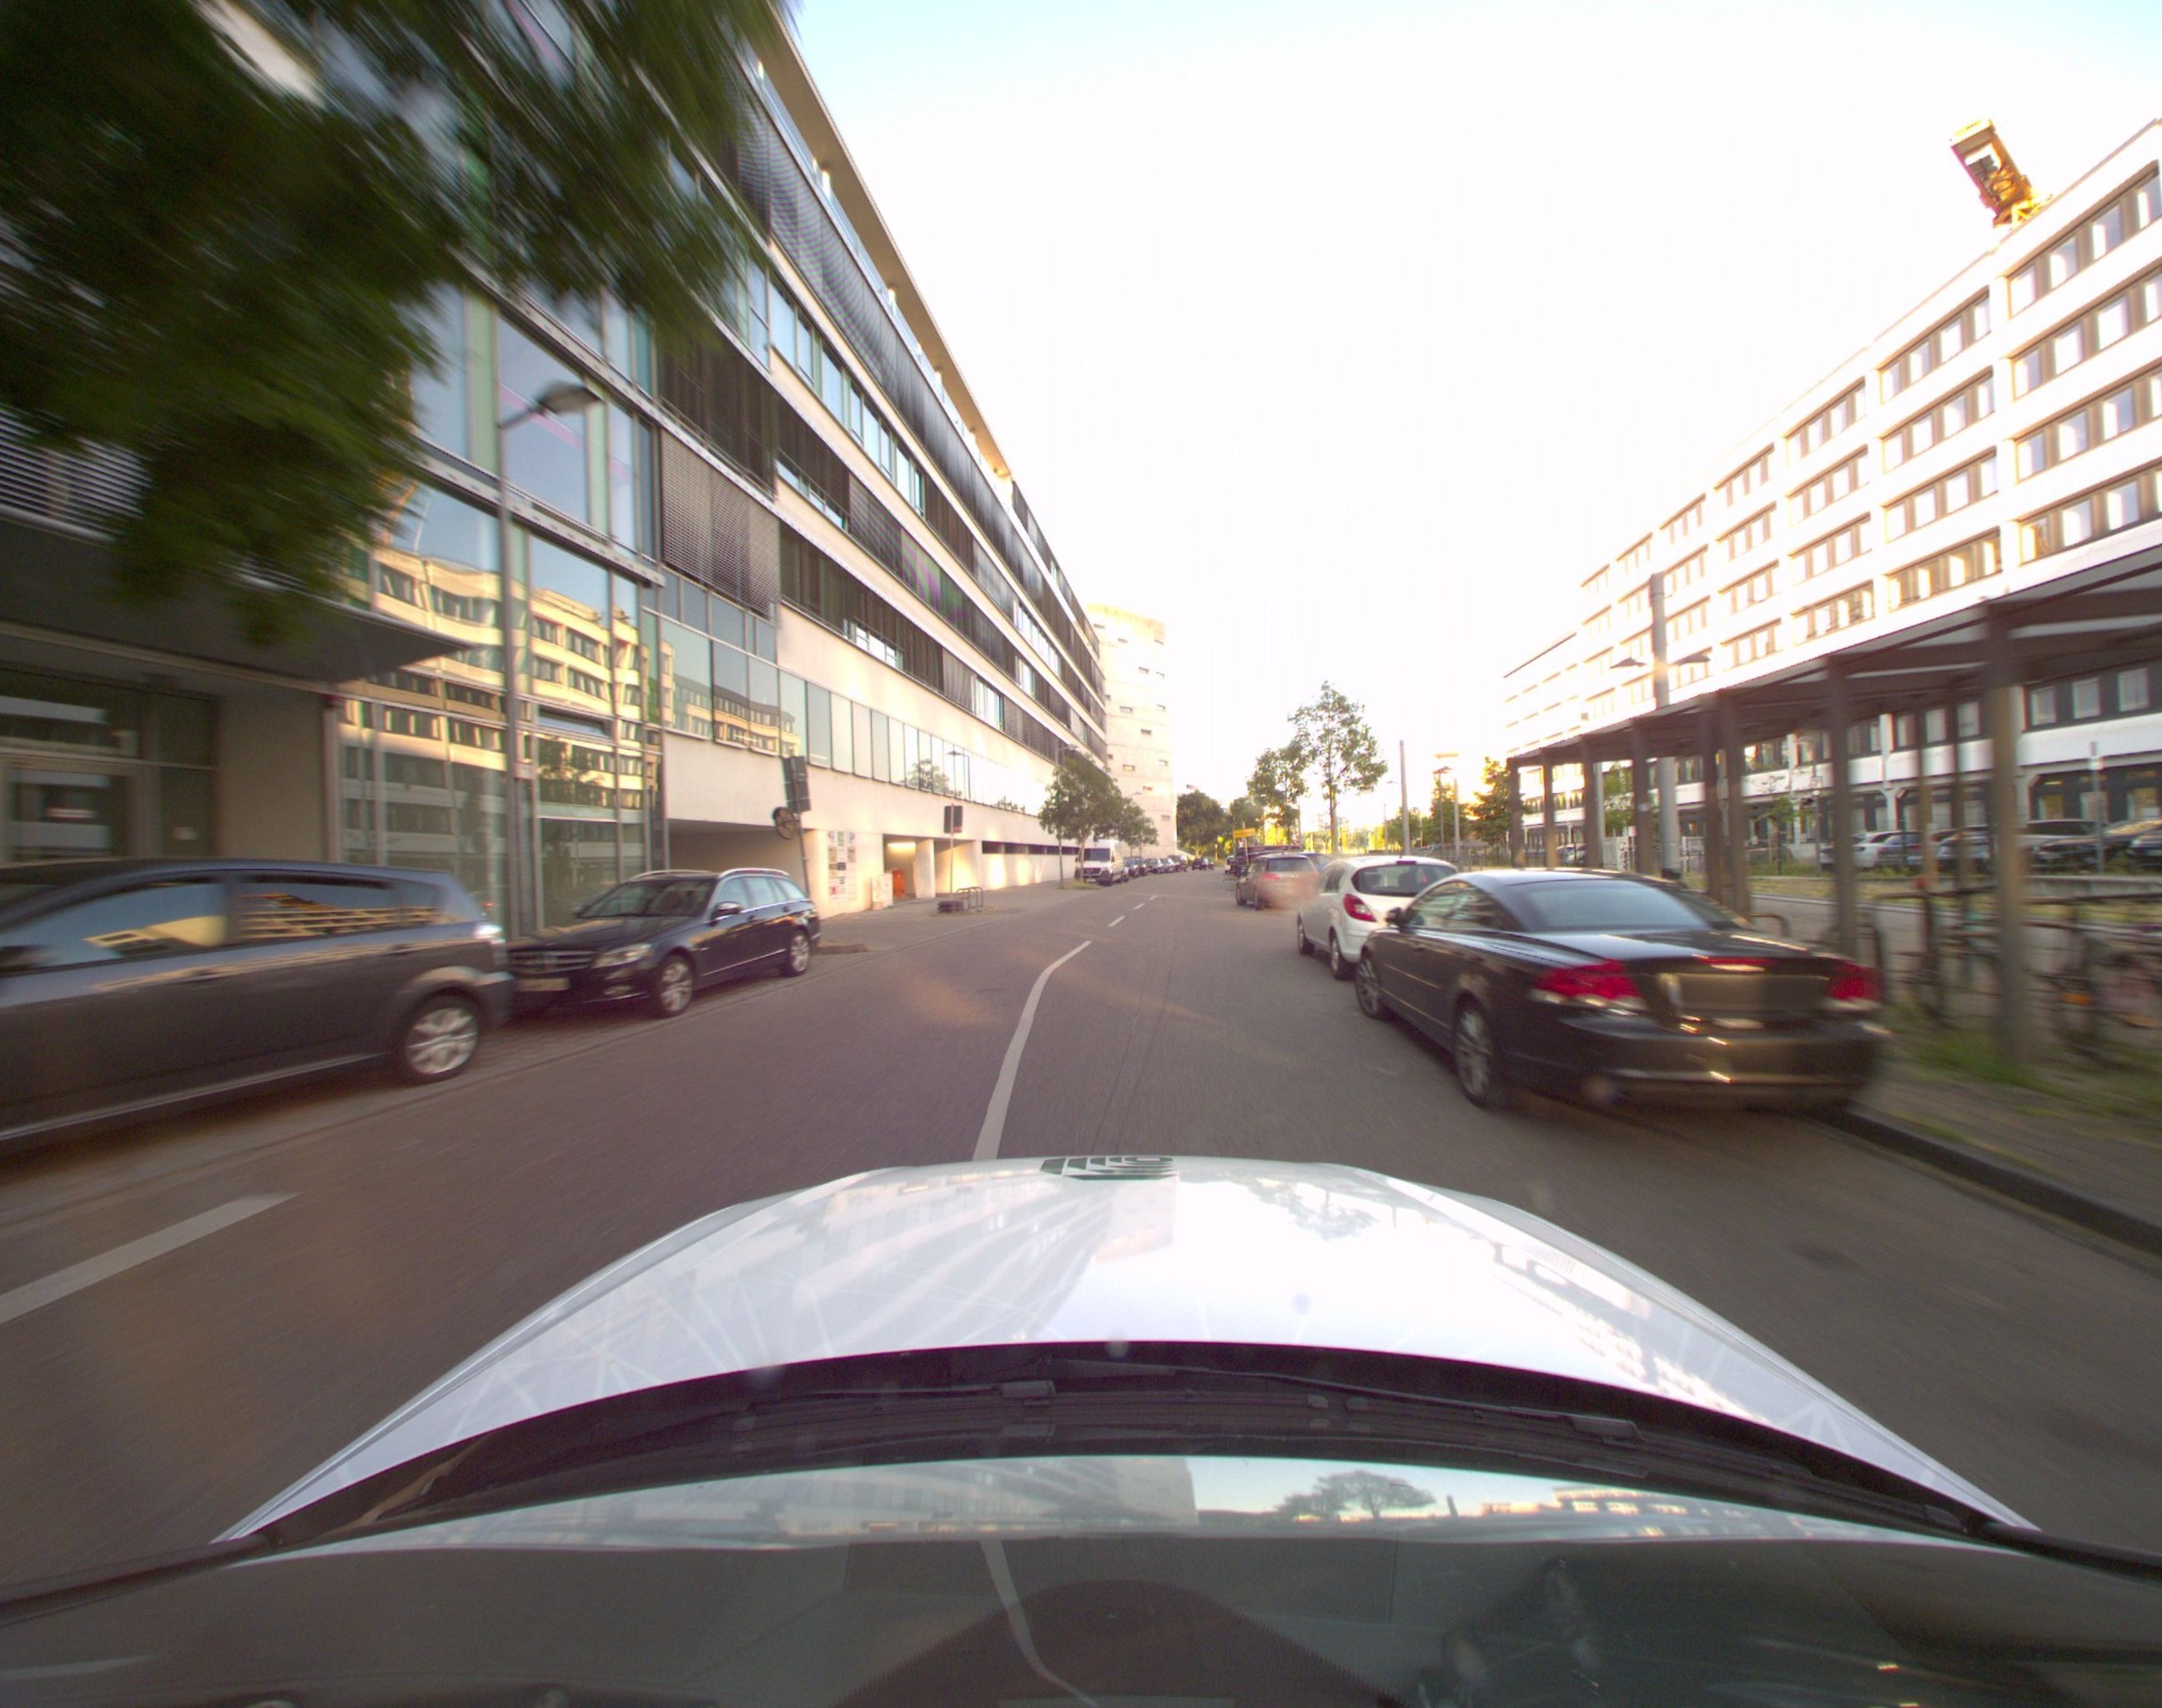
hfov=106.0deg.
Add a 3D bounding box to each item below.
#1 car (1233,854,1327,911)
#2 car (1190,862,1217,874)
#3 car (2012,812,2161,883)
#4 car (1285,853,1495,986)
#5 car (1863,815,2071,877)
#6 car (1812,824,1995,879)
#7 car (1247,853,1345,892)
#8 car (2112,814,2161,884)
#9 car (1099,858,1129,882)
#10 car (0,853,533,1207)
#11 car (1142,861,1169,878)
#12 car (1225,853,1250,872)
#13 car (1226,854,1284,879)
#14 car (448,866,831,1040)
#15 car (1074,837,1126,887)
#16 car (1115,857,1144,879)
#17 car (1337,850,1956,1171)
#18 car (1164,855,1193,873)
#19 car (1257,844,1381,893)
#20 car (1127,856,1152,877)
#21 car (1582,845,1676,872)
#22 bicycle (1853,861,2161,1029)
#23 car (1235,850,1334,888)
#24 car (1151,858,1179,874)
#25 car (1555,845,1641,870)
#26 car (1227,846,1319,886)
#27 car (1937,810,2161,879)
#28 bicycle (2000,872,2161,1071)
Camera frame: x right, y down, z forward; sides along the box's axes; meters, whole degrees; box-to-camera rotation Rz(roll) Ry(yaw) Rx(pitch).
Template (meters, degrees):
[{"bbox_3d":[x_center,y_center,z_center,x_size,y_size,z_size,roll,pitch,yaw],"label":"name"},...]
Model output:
[{"bbox_3d":[5.509,0.754,23.023,1.725,1.466,3.999,0,-1,0],"label":"car"},{"bbox_3d":[14.320,1.636,95.304,1.926,1.382,4.425,0,0,25],"label":"car"},{"bbox_3d":[25.602,-0.207,19.609,3.963,1.487,1.680,-4,-1,9],"label":"car"},{"bbox_3d":[3.972,0.746,11.196,1.667,1.452,4.195,-2,0,6],"label":"car"},{"bbox_3d":[26.397,-0.218,24.401,3.963,1.487,1.680,-4,-1,9],"label":"car"},{"bbox_3d":[27.184,-0.074,27.044,3.965,1.513,1.828,-4,-1,7],"label":"car"},{"bbox_3d":[9.324,0.780,35.280,4.009,1.595,1.721,1,-1,-27],"label":"car"},{"bbox_3d":[25.152,-0.236,17.239,3.963,1.487,1.680,-4,-1,9],"label":"car"},{"bbox_3d":[2.172,1.006,52.098,1.748,1.439,3.906,0,0,5],"label":"car"},{"bbox_3d":[-5.615,0.812,4.479,1.833,1.571,4.278,-2,0,9],"label":"car"},{"bbox_3d":[6.914,1.383,75.116,1.709,1.457,4.289,0,0,15],"label":"car"},{"bbox_3d":[13.451,0.701,69.827,1.709,1.467,3.568,-3,-1,17],"label":"car"},{"bbox_3d":[12.426,0.862,58.207,3.784,1.726,1.750,0,0,-24],"label":"car"},{"bbox_3d":[-4.628,0.918,9.460,1.707,1.452,4.405,-2,0,5],"label":"car"},{"bbox_3d":[1.167,0.411,45.729,1.946,2.617,6.911,0,0,10],"label":"car"},{"bbox_3d":[3.675,1.011,60.835,1.745,1.561,4.054,0,0,10],"label":"car"},{"bbox_3d":[3.288,0.734,6.014,1.778,1.452,4.523,-2,0,6],"label":"car"},{"bbox_3d":[10.251,0.991,85.401,1.741,1.798,4.488,0,0,24],"label":"car"},{"bbox_3d":[8.569,0.528,29.342,4.008,1.520,1.911,-2,-2,-27],"label":"car"},{"bbox_3d":[4.822,1.007,66.901,1.746,1.653,3.958,0,0,9],"label":"car"},{"bbox_3d":[29.466,0.249,43.879,3.965,1.398,1.595,0,0,7],"label":"car"},{"bbox_3d":[6.663,0.626,5.725,1.795,1.066,0.488,-3,-2,8],"label":"bicycle"},{"bbox_3d":[10.032,0.701,40.147,4.610,1.749,1.856,-1,0,-25],"label":"car"},{"bbox_3d":[8.332,1.149,80.614,1.708,1.457,4.717,0,0,19],"label":"car"},{"bbox_3d":[30.450,0.204,48.048,3.965,1.398,1.595,0,0,7],"label":"car"},{"bbox_3d":[10.228,0.614,43.320,4.610,2.035,1.856,-1,0,-25],"label":"car"},{"bbox_3d":[26.130,-0.243,21.931,3.963,1.487,1.680,-4,-1,9],"label":"car"},{"bbox_3d":[6.453,0.638,4.638,1.709,1.066,0.422,-3,-2,8],"label":"bicycle"}]
